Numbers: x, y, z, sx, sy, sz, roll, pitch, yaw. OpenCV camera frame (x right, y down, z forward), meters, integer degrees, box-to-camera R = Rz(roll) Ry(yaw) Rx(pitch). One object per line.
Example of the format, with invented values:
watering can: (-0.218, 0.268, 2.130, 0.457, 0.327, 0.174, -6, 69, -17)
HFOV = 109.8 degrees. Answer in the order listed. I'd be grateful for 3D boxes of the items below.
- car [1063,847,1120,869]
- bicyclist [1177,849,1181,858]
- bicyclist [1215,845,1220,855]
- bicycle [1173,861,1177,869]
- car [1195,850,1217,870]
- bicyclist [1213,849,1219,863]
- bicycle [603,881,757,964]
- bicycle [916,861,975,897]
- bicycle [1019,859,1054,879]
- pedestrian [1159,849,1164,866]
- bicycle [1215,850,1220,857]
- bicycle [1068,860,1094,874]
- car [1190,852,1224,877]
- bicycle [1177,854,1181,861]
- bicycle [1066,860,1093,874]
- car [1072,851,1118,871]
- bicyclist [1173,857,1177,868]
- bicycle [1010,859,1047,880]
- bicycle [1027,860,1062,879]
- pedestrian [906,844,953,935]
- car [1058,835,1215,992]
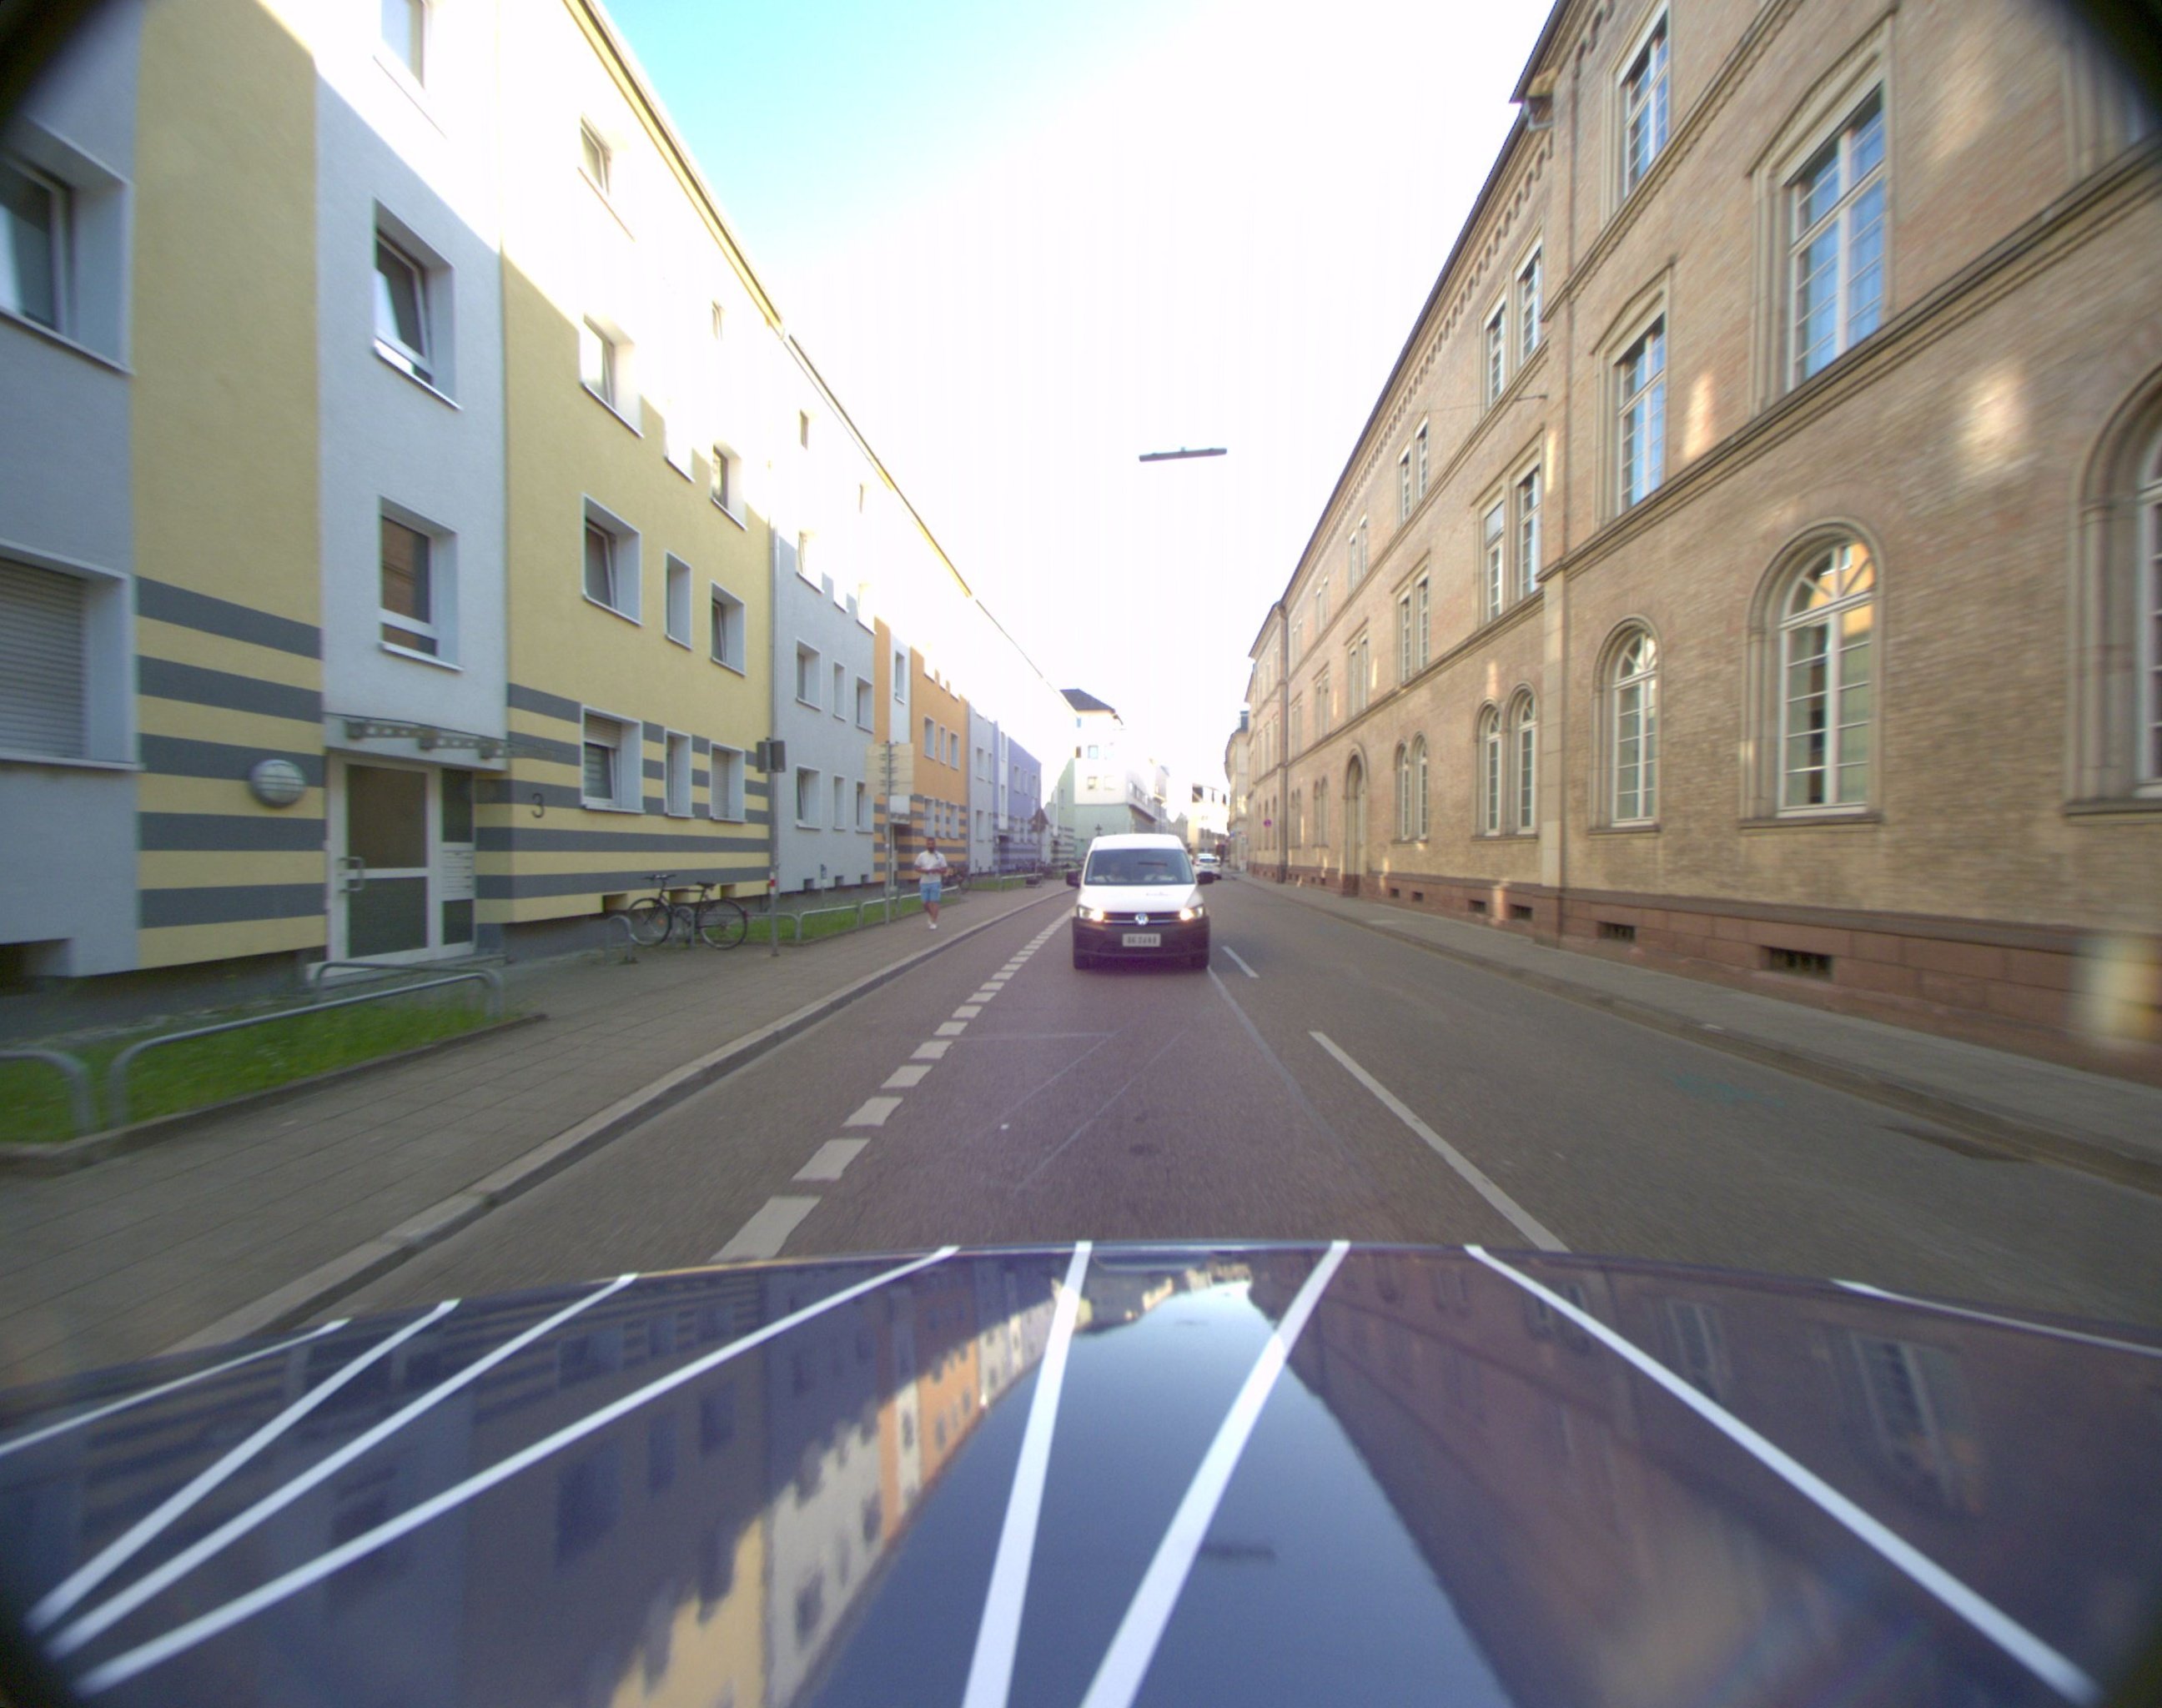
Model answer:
car: (0.936, 0.325, 67.404, 4.761, 1.927, 2.002, 0, 1, 11)
bicyclist: (14.349, -0.063, 111.560, 0.548, 1.204, 0.584, 0, 1, 9)
bicyclist: (21.097, -0.663, 117.102, 0.651, 1.500, 1.112, 3, 1, 11)
bicycle: (9.403, 1.103, 75.865, 0.348, 0.719, 1.118, 0, 0, 11)
car: (10.347, 0.464, 63.025, 1.688, 1.573, 4.277, 2, 1, 8)
bicyclist: (14.323, 0.210, 80.731, 0.604, 1.434, 0.579, 0, 1, 7)
bicycle: (-5.479, 0.928, 10.448, 1.777, 1.043, 0.583, 2, 1, -2)
bicycle: (-4.400, 0.806, 24.748, 1.776, 1.118, 0.583, 2, 1, 1)
bicycle: (-2.388, 0.792, 40.780, 1.775, 0.990, 0.584, 2, 1, 10)
pedestrian: (8.273, 0.333, 78.065, 0.508, 1.752, 0.411, 0, 1, 7)
bicycle: (21.076, -0.055, 117.048, 0.651, 1.001, 1.877, 3, 1, 11)
bicycle: (0.022, 0.915, 55.104, 1.775, 0.934, 0.584, 2, 1, 10)
car: (8.133, 0.655, 49.358, 1.890, 1.467, 4.547, 2, 1, 7)
bicycle: (14.352, 0.475, 111.577, 0.548, 1.076, 1.965, 0, 1, 9)
bicycle: (-0.122, 0.893, 53.571, 1.775, 0.934, 0.584, 2, 1, 10)
car: (1.323, 0.638, 70.930, 3.995, 1.682, 1.901, -2, 1, 7)
bicyclist: (9.402, 0.823, 75.866, 0.348, 1.101, 0.368, 0, 1, 11)
bicycle: (-2.720, 0.809, 39.450, 1.775, 0.990, 0.584, 2, 1, 10)
bicycle: (-1.973, 0.828, 41.379, 1.775, 0.934, 0.584, 2, 1, 10)
pedestrian: (-2.844, 0.645, 14.342, 0.644, 1.662, 0.834, 1, 1, 5)
car: (0.792, 0.677, 11.500, 1.819, 1.826, 5.342, 0, 0, 3)
